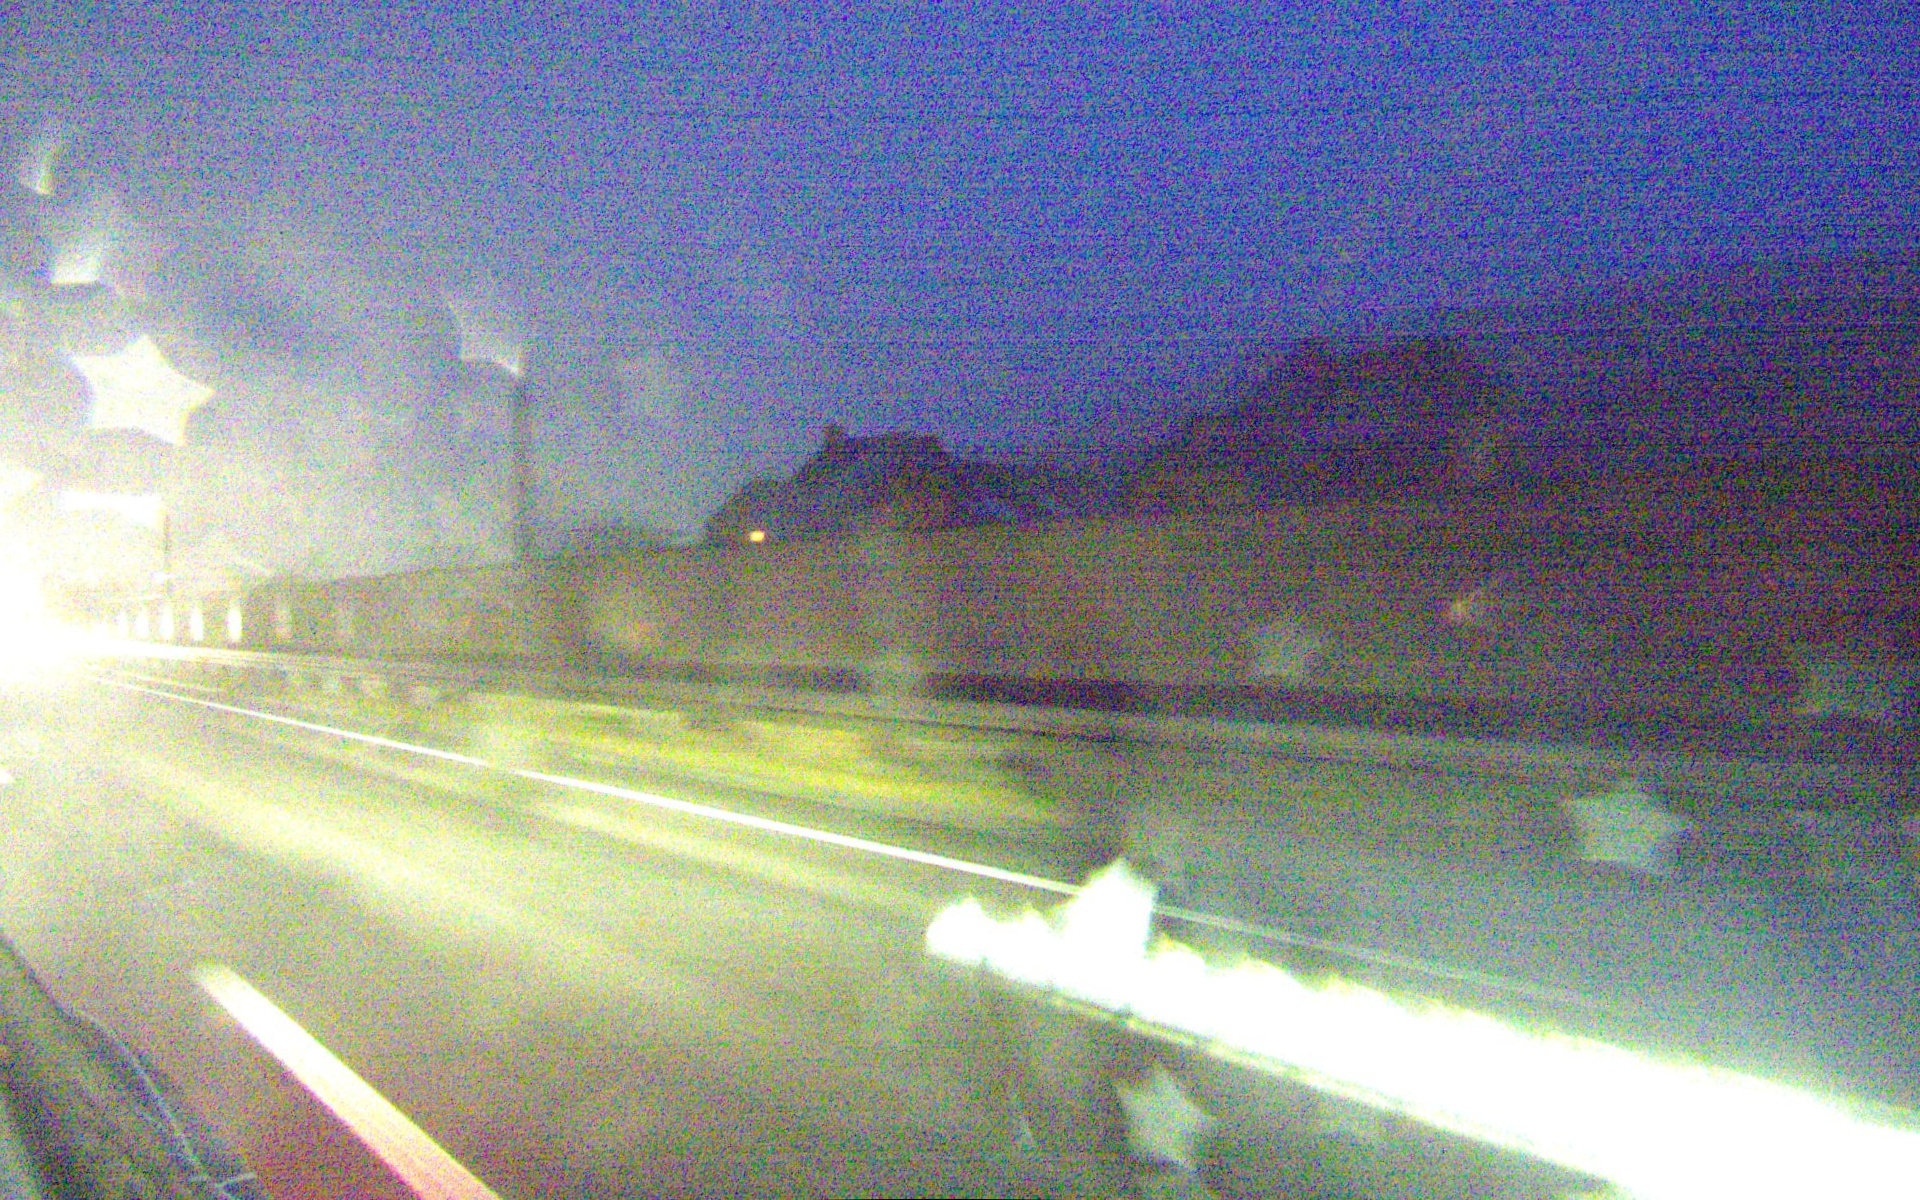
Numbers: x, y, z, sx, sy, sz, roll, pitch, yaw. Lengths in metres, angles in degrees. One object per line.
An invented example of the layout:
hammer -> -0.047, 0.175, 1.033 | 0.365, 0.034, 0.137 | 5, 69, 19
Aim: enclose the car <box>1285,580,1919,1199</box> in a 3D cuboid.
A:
car -> 2.921, 0.644, 0.925 | 4.594, 1.404, 1.972 | -1, -1, 42
